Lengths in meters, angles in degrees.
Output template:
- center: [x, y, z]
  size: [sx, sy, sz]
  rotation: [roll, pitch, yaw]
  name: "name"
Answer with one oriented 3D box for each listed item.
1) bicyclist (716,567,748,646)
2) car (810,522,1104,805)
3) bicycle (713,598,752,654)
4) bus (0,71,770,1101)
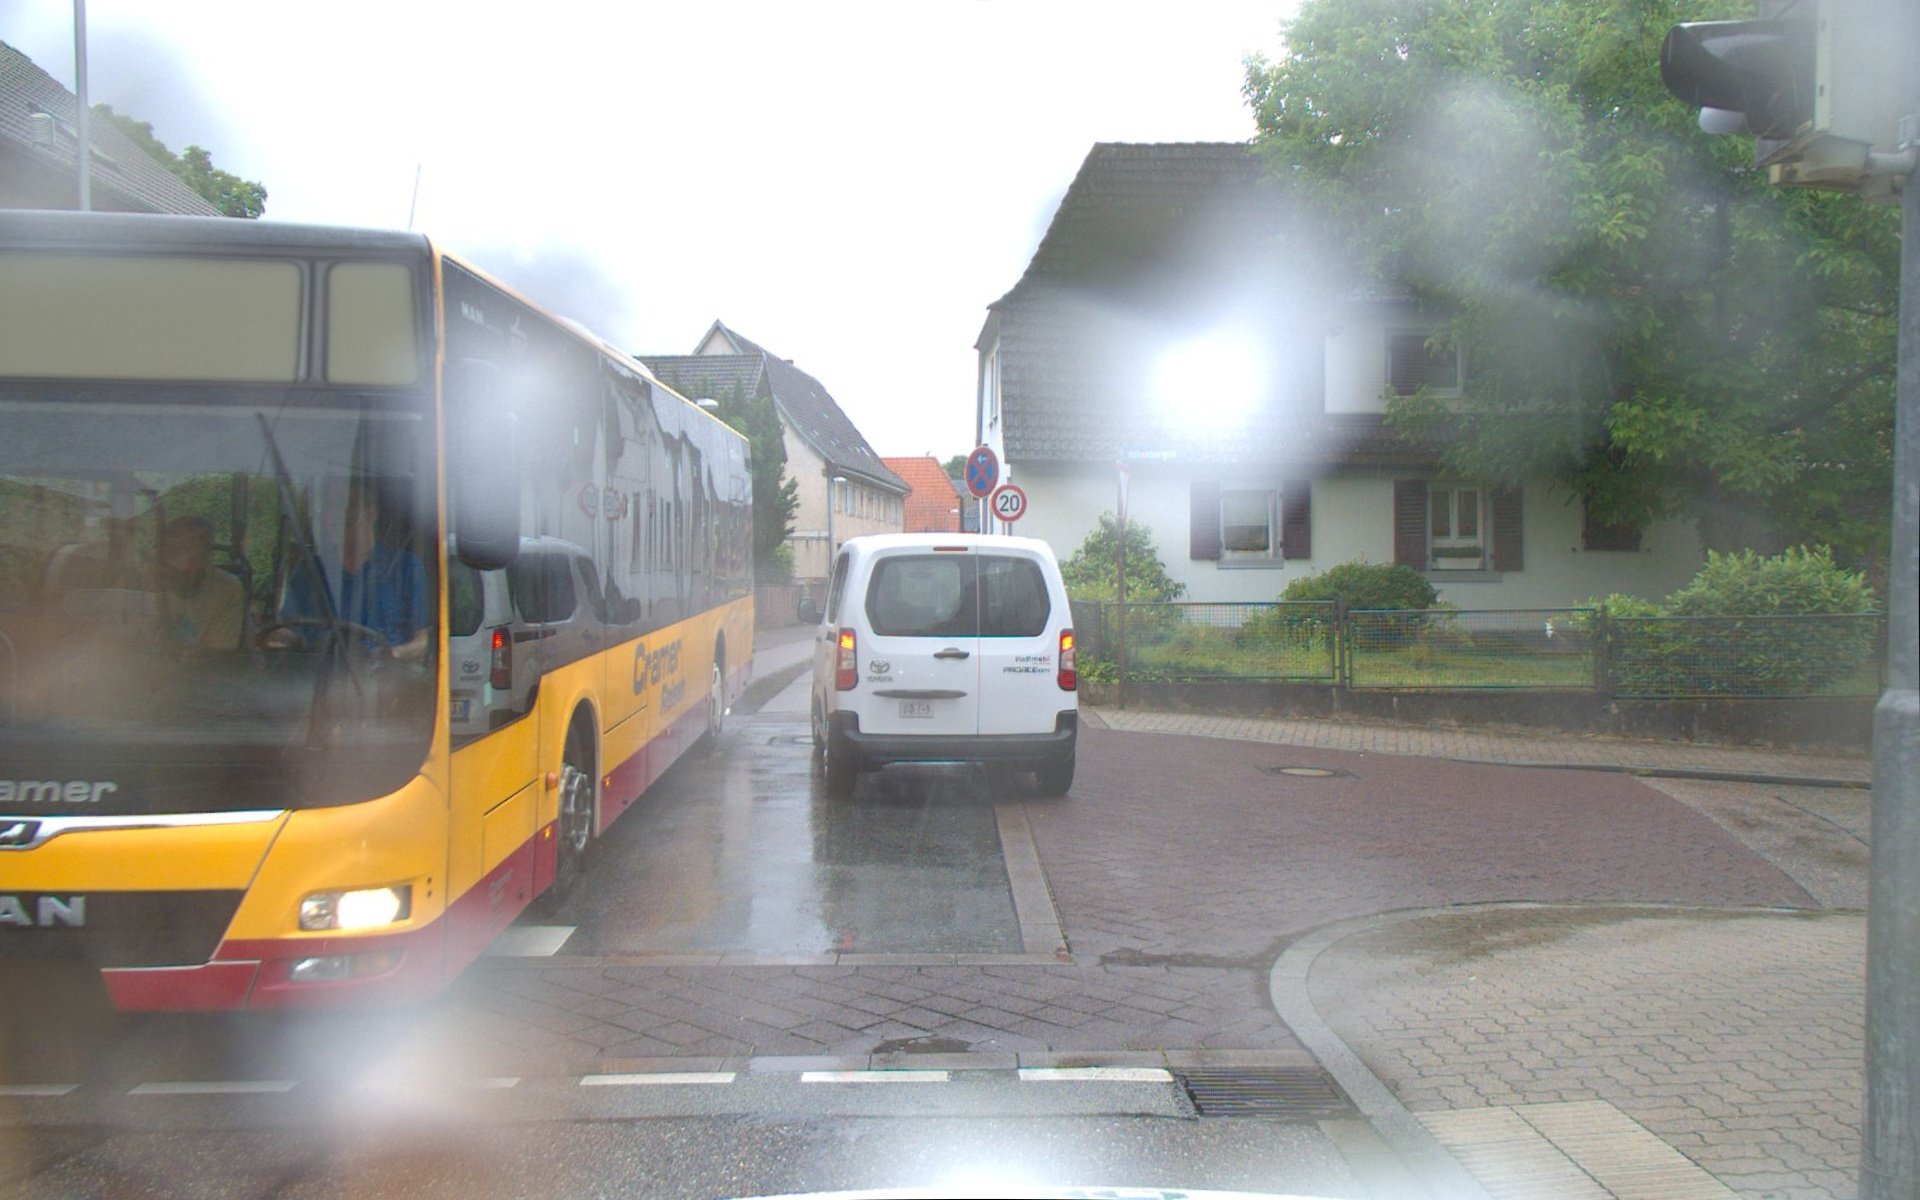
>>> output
- center: [-5.085, 0.149, 36.968]
  size: [0.577, 1.737, 0.517]
  rotation: [-2, -1, 2]
  name: "bicyclist"
- center: [-0.181, 0.402, 12.710]
  size: [1.858, 1.825, 3.809]
  rotation: [1, 0, -6]
  name: "car"
- center: [-5.073, 0.571, 36.919]
  size: [0.535, 1.202, 1.621]
  rotation: [-2, 0, 2]
  name: "bicycle"
- center: [-3.046, -0.236, 10.985]
  size: [2.596, 3.051, 12.189]
  rotation: [0, 2, -2]
  name: "bus"
